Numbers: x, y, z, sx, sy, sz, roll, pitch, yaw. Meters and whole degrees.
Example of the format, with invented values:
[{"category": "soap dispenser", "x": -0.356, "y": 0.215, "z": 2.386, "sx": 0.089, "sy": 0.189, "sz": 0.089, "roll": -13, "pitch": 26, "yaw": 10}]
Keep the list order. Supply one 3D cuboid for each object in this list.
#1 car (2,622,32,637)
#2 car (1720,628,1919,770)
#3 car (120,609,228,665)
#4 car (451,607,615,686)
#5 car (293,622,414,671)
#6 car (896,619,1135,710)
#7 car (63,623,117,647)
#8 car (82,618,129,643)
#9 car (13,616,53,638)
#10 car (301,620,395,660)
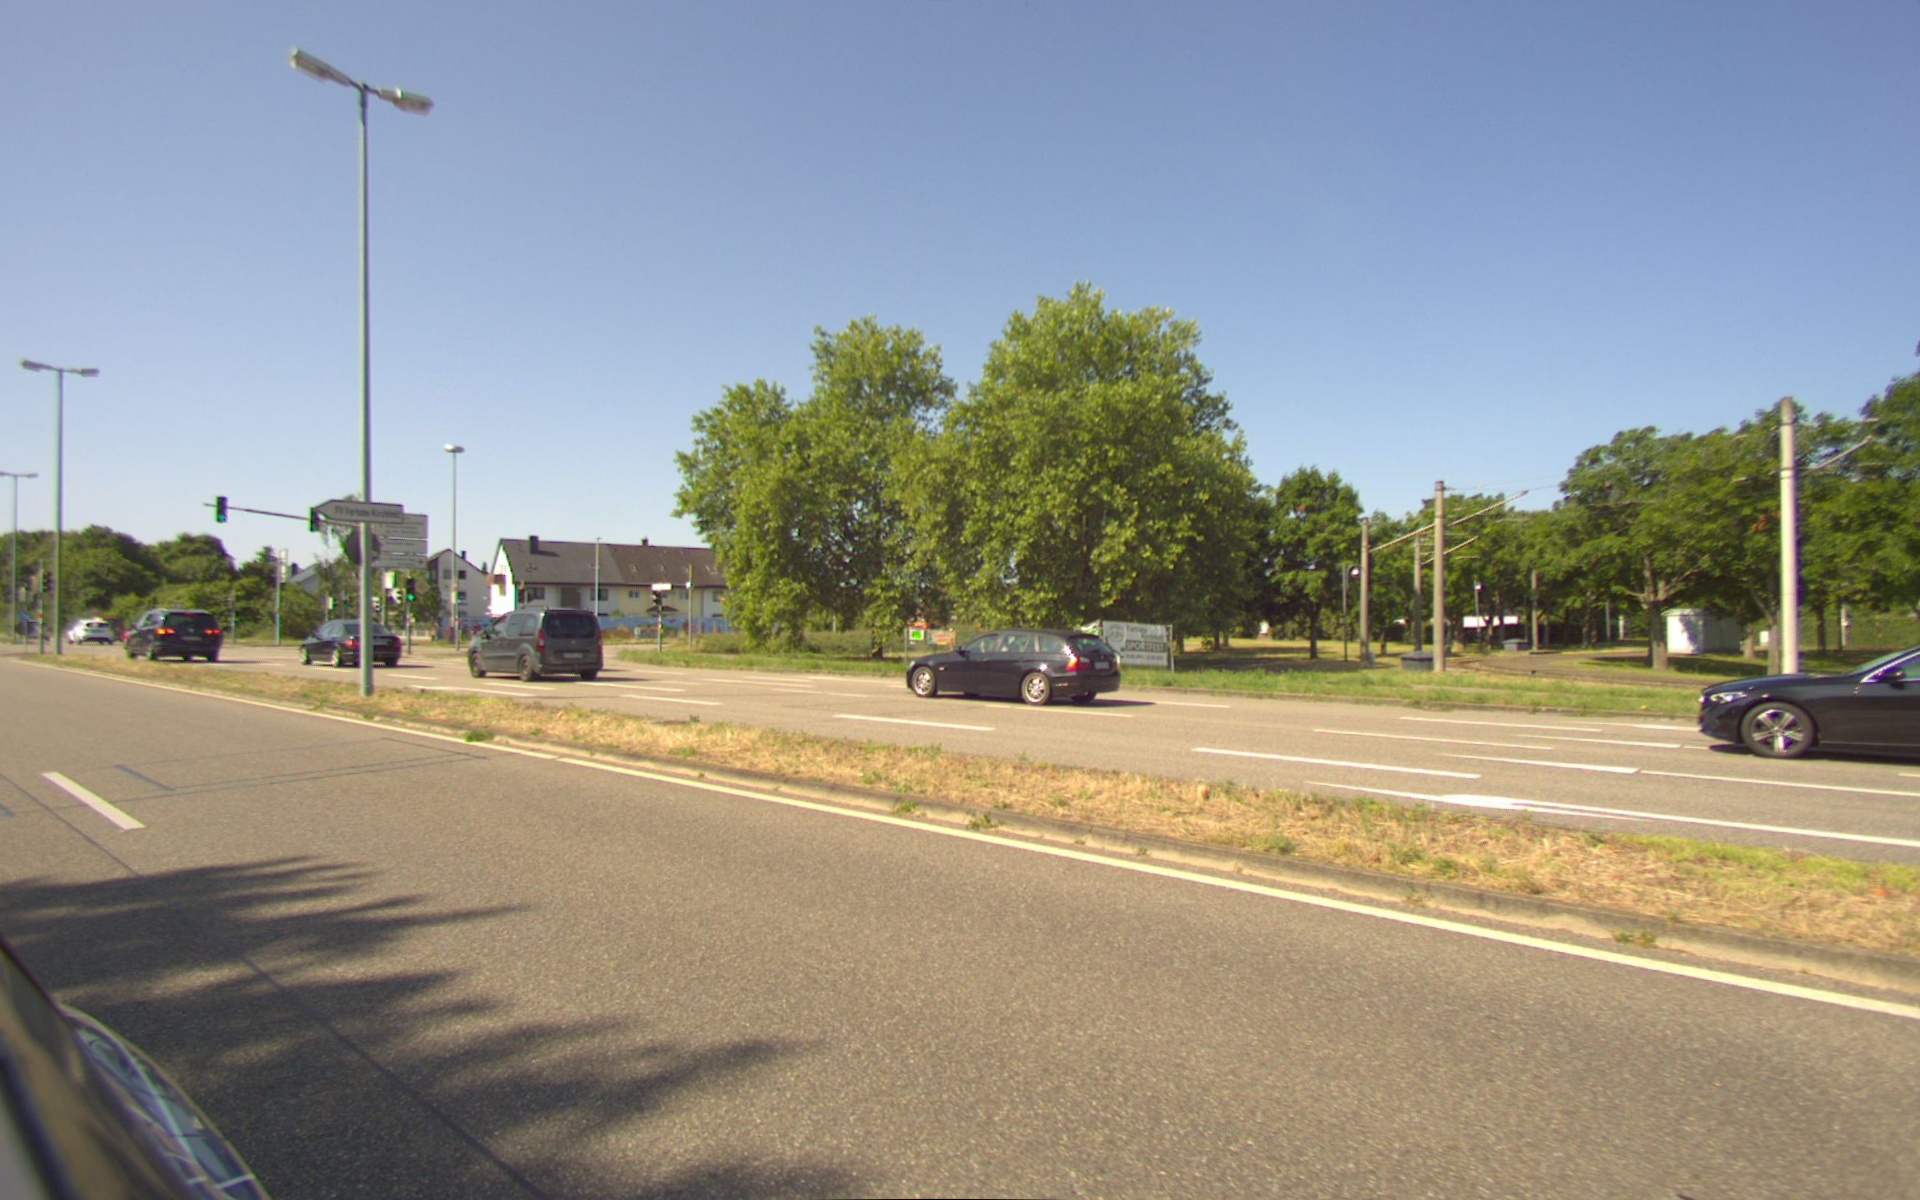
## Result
[{"category": "car", "x": -91.810, "y": 2.882, "z": 98.524, "sx": 4.229, "sy": 1.468, "sz": 1.865, "roll": -1, "pitch": -2, "yaw": 43}, {"category": "car", "x": 11.083, "y": 1.053, "z": 10.943, "sx": 4.467, "sy": 1.476, "sz": 1.812, "roll": -1, "pitch": -2, "yaw": 41}, {"category": "car", "x": -26.454, "y": 1.228, "z": 34.007, "sx": 4.505, "sy": 1.764, "sz": 1.961, "roll": -1, "pitch": -3, "yaw": 41}, {"category": "car", "x": -10.741, "y": 1.113, "z": 25.345, "sx": 4.486, "sy": 1.793, "sz": 1.961, "roll": -1, "pitch": -2, "yaw": 40}, {"category": "car", "x": -19.457, "y": 1.467, "z": 32.401, "sx": 4.446, "sy": 1.468, "sz": 1.961, "roll": -1, "pitch": -3, "yaw": 40}, {"category": "car", "x": 0.984, "y": 1.173, "z": 19.542, "sx": 4.403, "sy": 1.557, "sz": 1.843, "roll": -1, "pitch": -3, "yaw": 40}, {"category": "car", "x": -52.041, "y": 2.063, "z": 60.537, "sx": 3.839, "sy": 1.397, "sz": 1.810, "roll": -1, "pitch": -2, "yaw": 40}, {"category": "car", "x": -62.482, "y": 2.238, "z": 73.982, "sx": 4.222, "sy": 1.783, "sz": 1.688, "roll": -1, "pitch": -3, "yaw": 37}, {"category": "car", "x": -65.288, "y": 1.881, "z": 71.267, "sx": 3.868, "sy": 1.468, "sz": 1.603, "roll": -1, "pitch": -2, "yaw": 40}, {"category": "car", "x": -26.238, "y": 1.709, "z": 43.320, "sx": 4.486, "sy": 1.635, "sz": 2.050, "roll": -1, "pitch": -3, "yaw": 40}]
